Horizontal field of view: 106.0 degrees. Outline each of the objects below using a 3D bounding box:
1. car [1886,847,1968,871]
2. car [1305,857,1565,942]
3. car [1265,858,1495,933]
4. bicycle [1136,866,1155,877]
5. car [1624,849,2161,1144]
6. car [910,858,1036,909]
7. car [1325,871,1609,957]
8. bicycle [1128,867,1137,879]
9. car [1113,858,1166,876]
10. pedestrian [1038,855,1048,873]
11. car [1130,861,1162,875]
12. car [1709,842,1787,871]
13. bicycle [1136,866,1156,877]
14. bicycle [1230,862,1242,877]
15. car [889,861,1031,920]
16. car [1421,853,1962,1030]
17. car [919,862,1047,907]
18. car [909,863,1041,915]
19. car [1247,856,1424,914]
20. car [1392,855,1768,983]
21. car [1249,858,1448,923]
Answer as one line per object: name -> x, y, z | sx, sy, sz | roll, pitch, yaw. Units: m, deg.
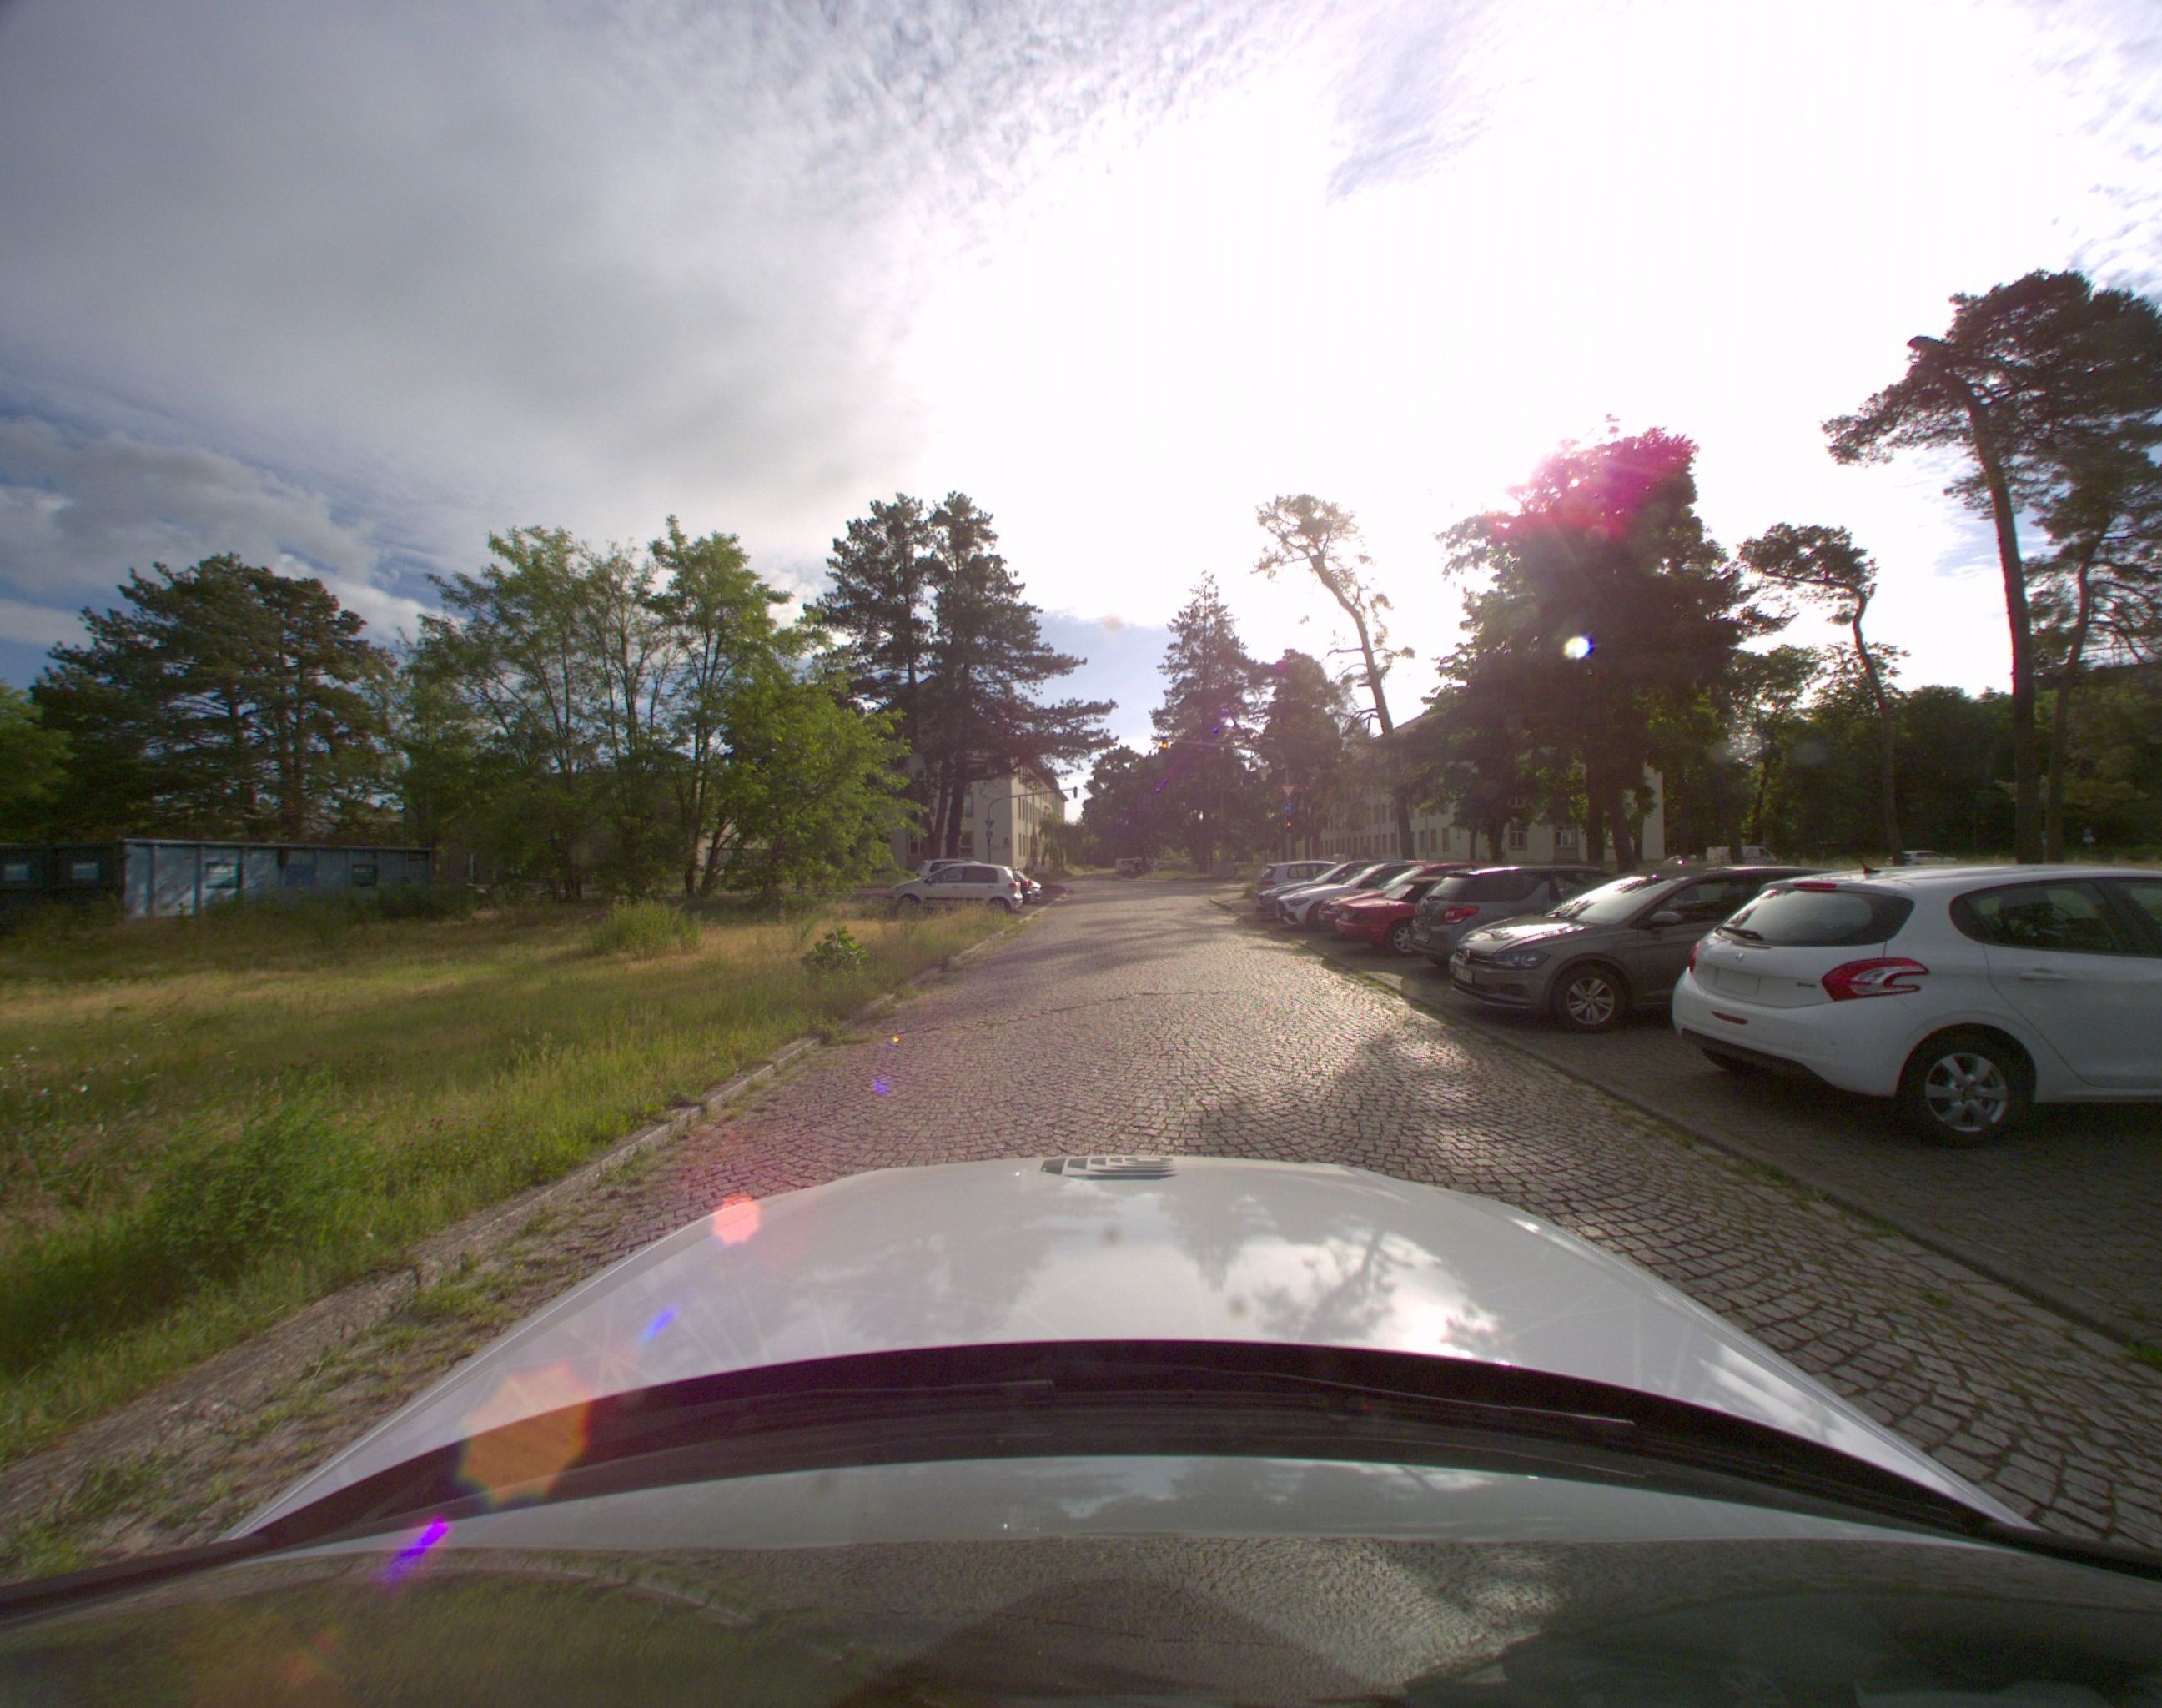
car -> 61.004, 0.355, 58.755 | 3.918, 1.680, 1.856 | -1, -1, 0
car -> 6.802, 0.866, 16.004 | 4.324, 1.473, 1.740 | -1, -1, 2
car -> 6.574, 0.906, 18.285 | 4.489, 1.473, 1.850 | -1, -1, 2
bicycle -> 6.115, 1.665, 77.378 | 1.786, 0.999, 0.644 | -1, 0, 1
car -> 6.038, 0.760, 5.222 | 3.858, 1.530, 1.809 | -1, -1, 2
car -> -3.702, 1.019, 28.531 | 4.111, 1.600, 1.857 | 2, -1, -2
car -> 6.300, 0.963, 13.640 | 3.935, 1.261, 1.728 | -1, -1, 2
bicycle -> 4.499, 1.679, 71.317 | 0.725, 0.999, 1.800 | -1, 0, 3
car -> 6.474, 1.422, 90.802 | 5.504, 1.916, 2.245 | 0, -1, -12
pedestrian -> -4.035, 1.094, 87.596 | 0.981, 1.963, 0.933 | -1, -1, 2
car -> 6.973, 1.472, 87.212 | 3.032, 1.465, 1.714 | 0, -2, -10
car -> 61.285, 0.259, 74.876 | 5.136, 2.536, 2.266 | -1, -1, 3
bicycle -> 6.079, 1.636, 75.877 | 1.786, 0.999, 0.644 | -1, 0, 1
bicycle -> 11.501, 1.141, 60.477 | 0.560, 0.999, 1.751 | -1, 0, -1
car -> -3.371, 1.011, 23.163 | 3.670, 1.474, 1.849 | 2, -1, 1
car -> 5.732, 0.797, 8.094 | 3.935, 1.467, 1.832 | -1, -1, 2
car -> -3.671, 1.126, 31.074 | 4.572, 1.455, 1.903 | 2, 1, 0
car -> -3.283, 1.086, 25.817 | 3.814, 1.429, 1.859 | 2, -1, 1
car -> 7.290, 0.897, 23.671 | 4.528, 1.505, 1.933 | -1, -1, 0
car -> 6.510, 0.830, 10.992 | 3.935, 1.495, 1.773 | -1, -1, 2
car -> 6.816, 0.916, 21.059 | 4.494, 1.473, 1.894 | -1, -1, -2
